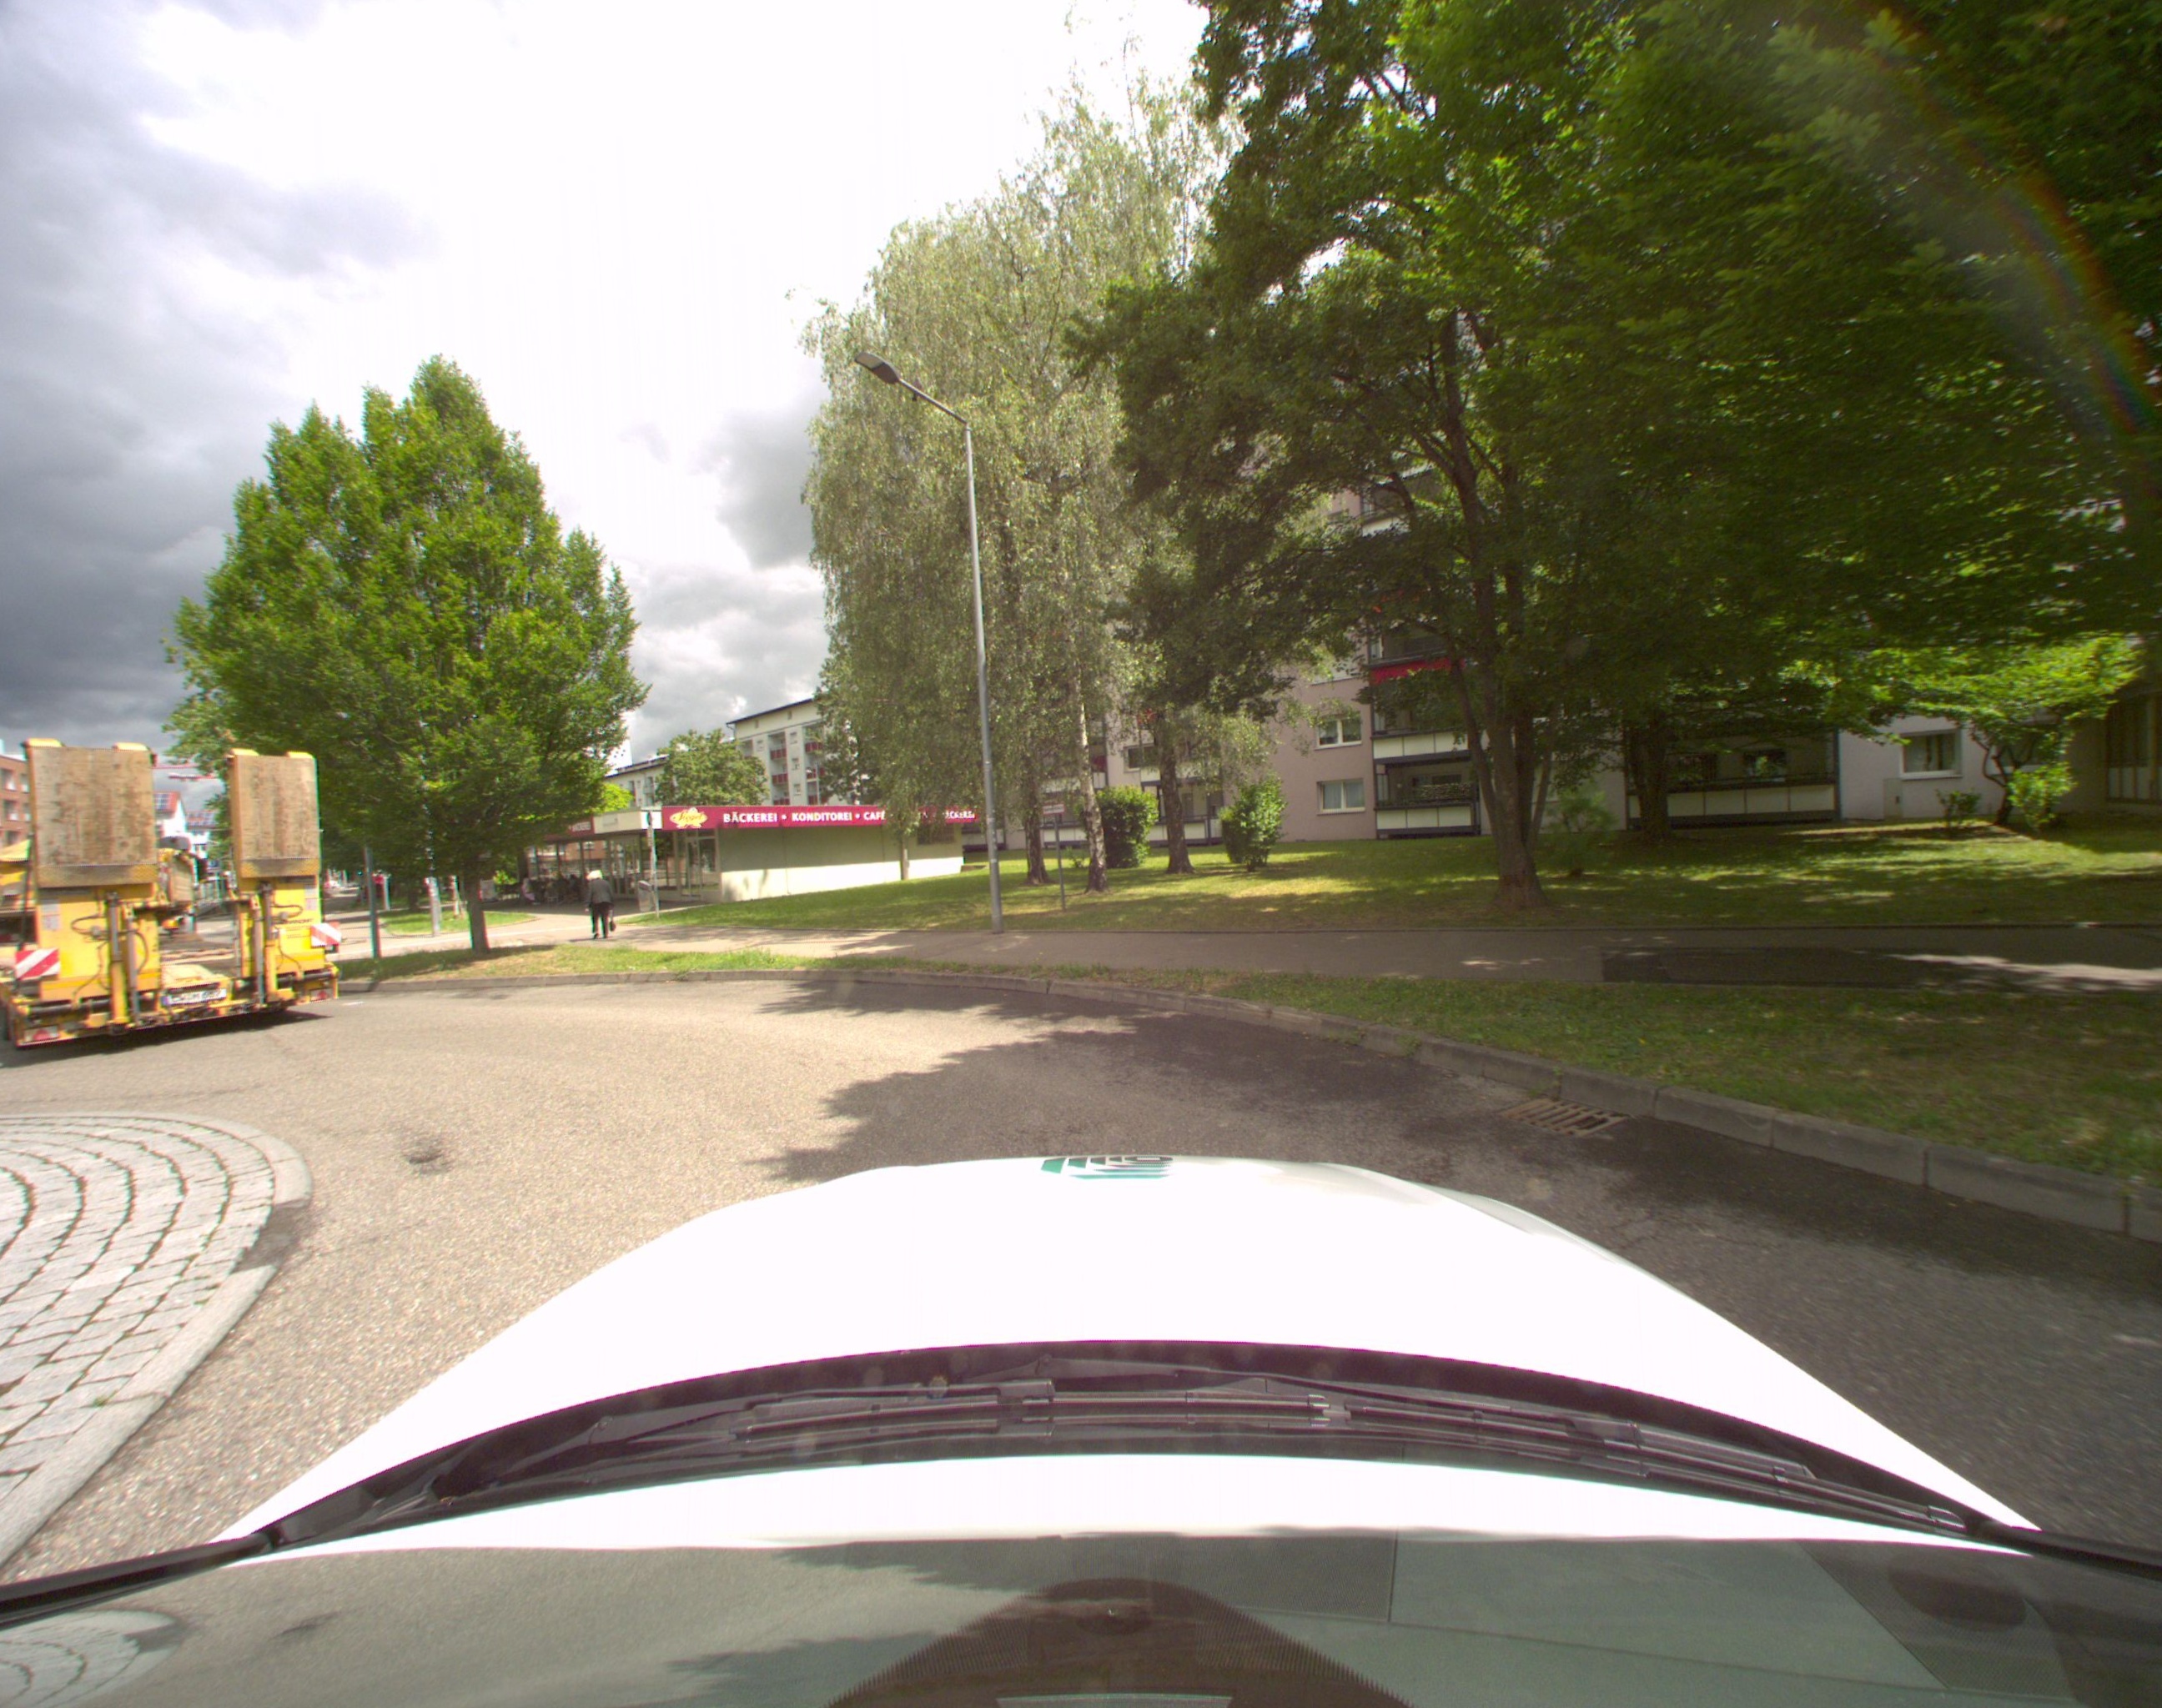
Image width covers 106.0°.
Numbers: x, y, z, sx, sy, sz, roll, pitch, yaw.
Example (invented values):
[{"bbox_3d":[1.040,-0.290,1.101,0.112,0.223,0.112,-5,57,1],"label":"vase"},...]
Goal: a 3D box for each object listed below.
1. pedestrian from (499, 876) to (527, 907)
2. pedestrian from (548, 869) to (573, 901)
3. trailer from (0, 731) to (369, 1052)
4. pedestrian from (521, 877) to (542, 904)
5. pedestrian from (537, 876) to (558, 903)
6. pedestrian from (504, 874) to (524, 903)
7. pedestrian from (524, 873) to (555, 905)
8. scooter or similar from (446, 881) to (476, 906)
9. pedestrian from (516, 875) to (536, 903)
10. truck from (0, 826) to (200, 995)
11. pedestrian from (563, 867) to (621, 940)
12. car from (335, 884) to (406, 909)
[{"bbox_3d":[-25.731,1.691,36.905,0.885,1.324,0.603,-6,2,-42],"label":"pedestrian"},{"bbox_3d":[-24.022,1.422,37.584,0.724,1.380,0.690,-6,2,-43],"label":"pedestrian"},{"bbox_3d":[-14.827,0.495,12.793,10.700,3.372,2.892,-2,0,35],"label":"trailer"},{"bbox_3d":[-25.664,1.691,38.035,0.723,1.201,0.691,-5,2,-36],"label":"pedestrian"},{"bbox_3d":[-25.116,1.649,38.326,0.723,1.201,0.691,-5,2,-36],"label":"pedestrian"},{"bbox_3d":[-31.473,1.918,45.207,0.550,1.573,0.703,-3,2,44],"label":"pedestrian"},{"bbox_3d":[-24.532,1.581,36.895,0.812,1.324,0.886,0,4,40],"label":"pedestrian"},{"bbox_3d":[-35.094,2.202,46.117,0.518,1.226,1.726,-4,3,-10],"label":"scooter or similar"},{"bbox_3d":[-30.769,1.948,45.119,0.550,1.488,0.703,-3,2,44],"label":"pedestrian"},{"bbox_3d":[-22.486,1.084,18.475,8.379,3.034,3.016,-1,3,44],"label":"truck"},{"bbox_3d":[-10.991,1.083,18.309,0.880,1.519,0.794,-6,4,-43],"label":"pedestrian"},{"bbox_3d":[-55.888,3.290,64.188,4.020,1.511,1.978,-4,4,-38],"label":"car"}]
